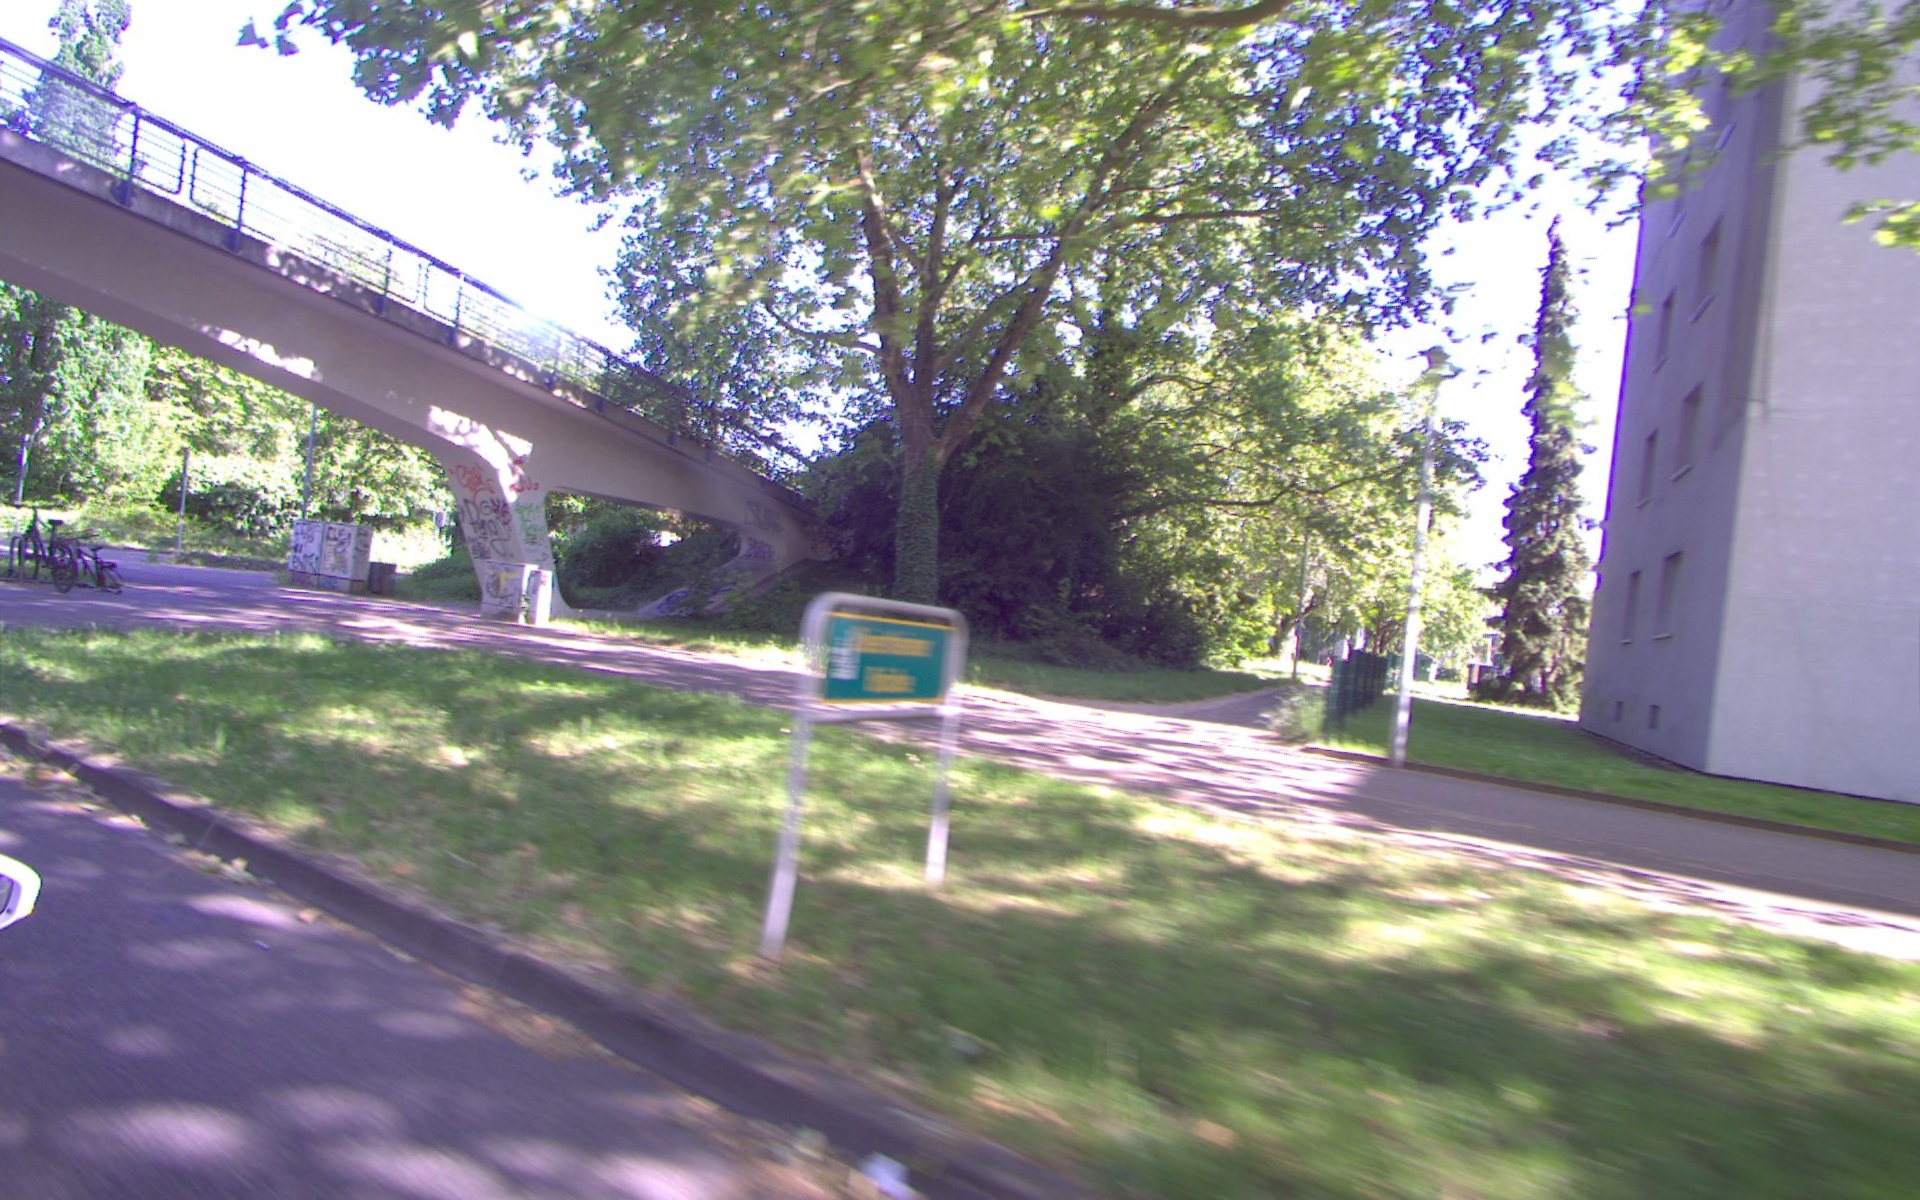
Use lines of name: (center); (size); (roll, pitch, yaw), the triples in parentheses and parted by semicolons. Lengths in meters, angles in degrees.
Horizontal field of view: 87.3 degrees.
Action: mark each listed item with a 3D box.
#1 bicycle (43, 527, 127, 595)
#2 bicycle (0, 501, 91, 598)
bicycle: (-13.125, -0.587, 15.083); (1.448, 0.864, 0.505); (8, 4, 31)
bicycle: (-13.208, -0.738, 14.411); (1.770, 1.199, 0.590); (8, 4, 31)
